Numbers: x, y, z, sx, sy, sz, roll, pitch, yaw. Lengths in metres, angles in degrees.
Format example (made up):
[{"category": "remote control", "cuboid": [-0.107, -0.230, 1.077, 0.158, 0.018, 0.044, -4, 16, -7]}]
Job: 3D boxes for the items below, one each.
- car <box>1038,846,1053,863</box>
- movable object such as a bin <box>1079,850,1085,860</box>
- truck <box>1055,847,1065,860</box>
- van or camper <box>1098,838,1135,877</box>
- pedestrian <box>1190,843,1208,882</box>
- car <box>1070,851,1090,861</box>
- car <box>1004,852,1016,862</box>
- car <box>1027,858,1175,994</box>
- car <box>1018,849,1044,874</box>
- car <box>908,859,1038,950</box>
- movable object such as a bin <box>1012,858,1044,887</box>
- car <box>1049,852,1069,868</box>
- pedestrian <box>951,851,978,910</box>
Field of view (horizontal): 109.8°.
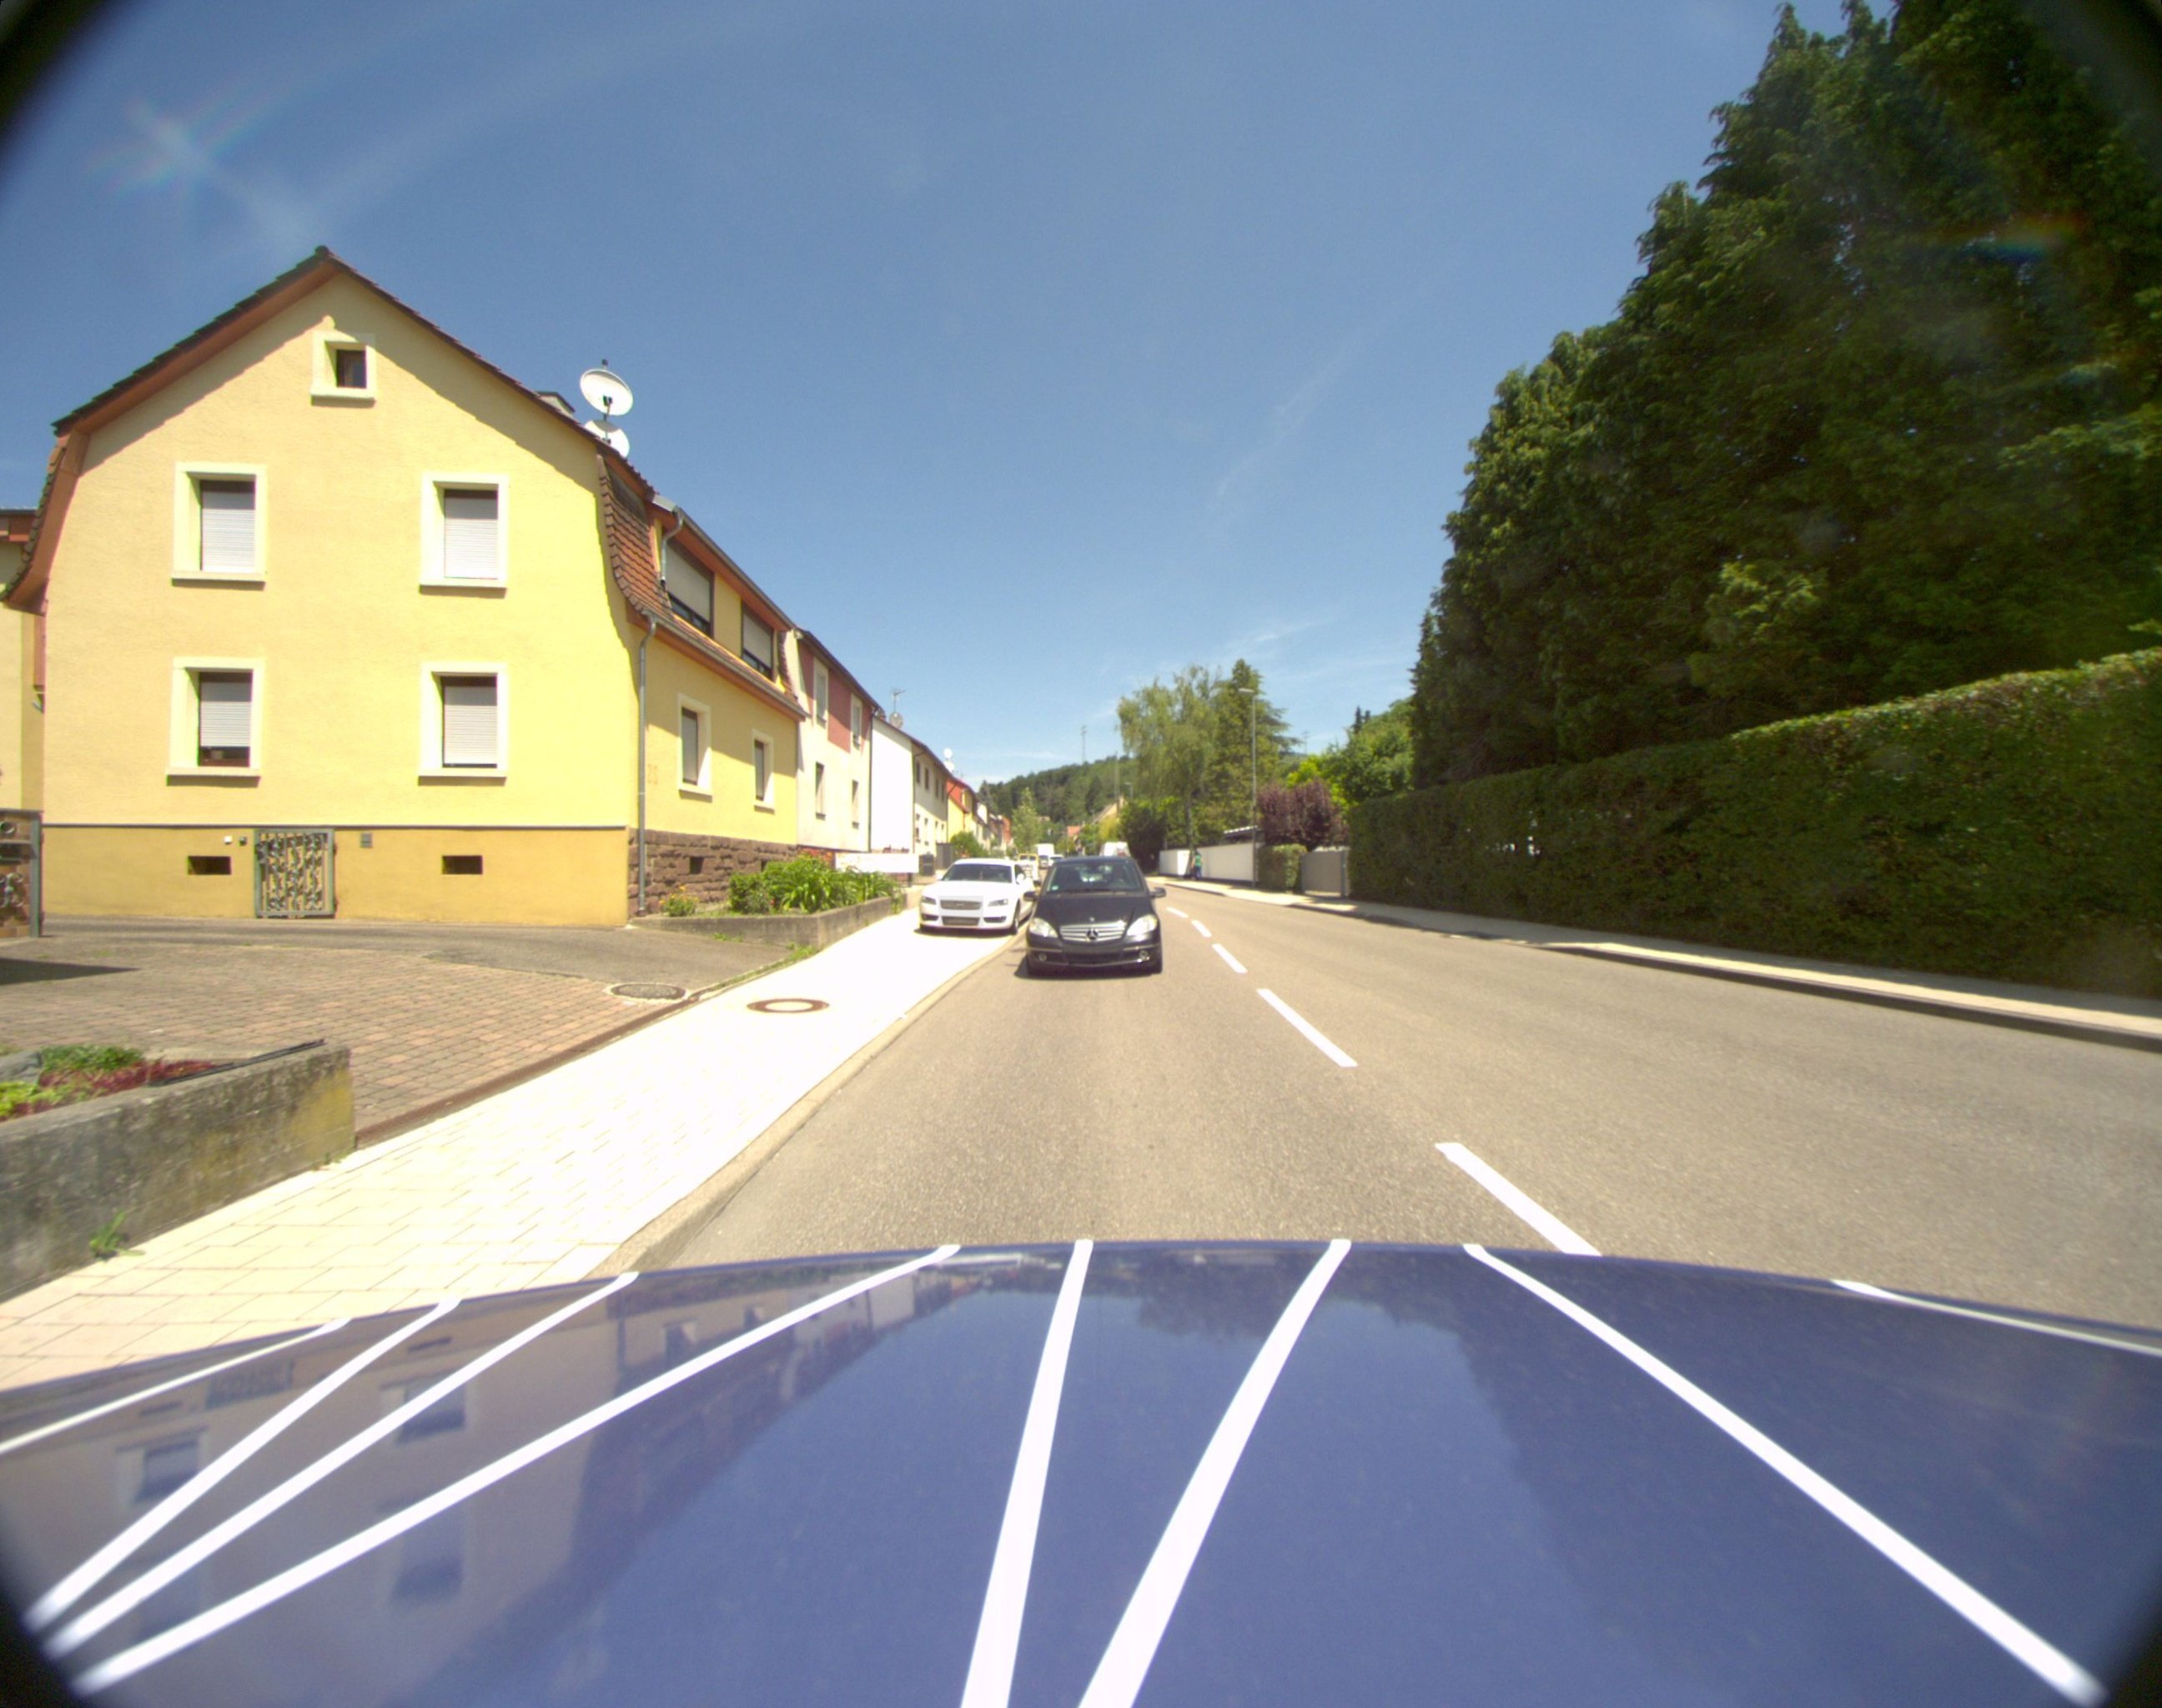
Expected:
[{"category": "car", "cuboid": [-4.967, 0.039, 105.527, 1.987, 2.170, 3.998, -2, 1, -3]}, {"category": "movable object such as a bin", "cuboid": [0.159, 0.167, 145.460, 1.062, 2.002, 1.322, -2, 1, -4]}, {"category": "truck", "cuboid": [-5.973, -0.142, 215.495, 2.548, 3.716, 8.619, 0, 0, -2]}, {"category": "van or camper", "cuboid": [2.530, 0.236, 56.022, 2.043, 2.697, 5.821, -1, 0, -4]}, {"category": "pedestrian", "cuboid": [6.205, 0.429, 39.942, 0.722, 2.002, 0.804, -2, 2, -1]}, {"category": "car", "cuboid": [-0.200, 0.320, 151.347, 3.607, 1.780, 1.847, -2, 1, -5]}, {"category": "car", "cuboid": [-13.124, 0.543, 139.970, 1.868, 1.612, 4.506, 3, 1, -2]}, {"category": "car", "cuboid": [0.148, 0.896, 11.814, 1.767, 1.572, 4.929, -2, 0, -2]}, {"category": "car", "cuboid": [-4.607, 0.669, 69.186, 2.196, 2.002, 5.619, 3, 1, -5]}, {"category": "car", "cuboid": [-2.017, 0.890, 15.528, 1.760, 1.410, 4.633, 2, 1, 3]}, {"category": "movable object such as a bin", "cuboid": [-2.757, 0.922, 39.544, 1.576, 1.408, 3.040, 0, 1, -4]}, {"category": "car", "cuboid": [-2.516, 0.667, 85.838, 1.999, 1.716, 3.998, -2, 1, -5]}, {"category": "pedestrian", "cuboid": [-4.073, 0.919, 26.735, 0.748, 2.002, 1.033, -2, 2, -2]}]
